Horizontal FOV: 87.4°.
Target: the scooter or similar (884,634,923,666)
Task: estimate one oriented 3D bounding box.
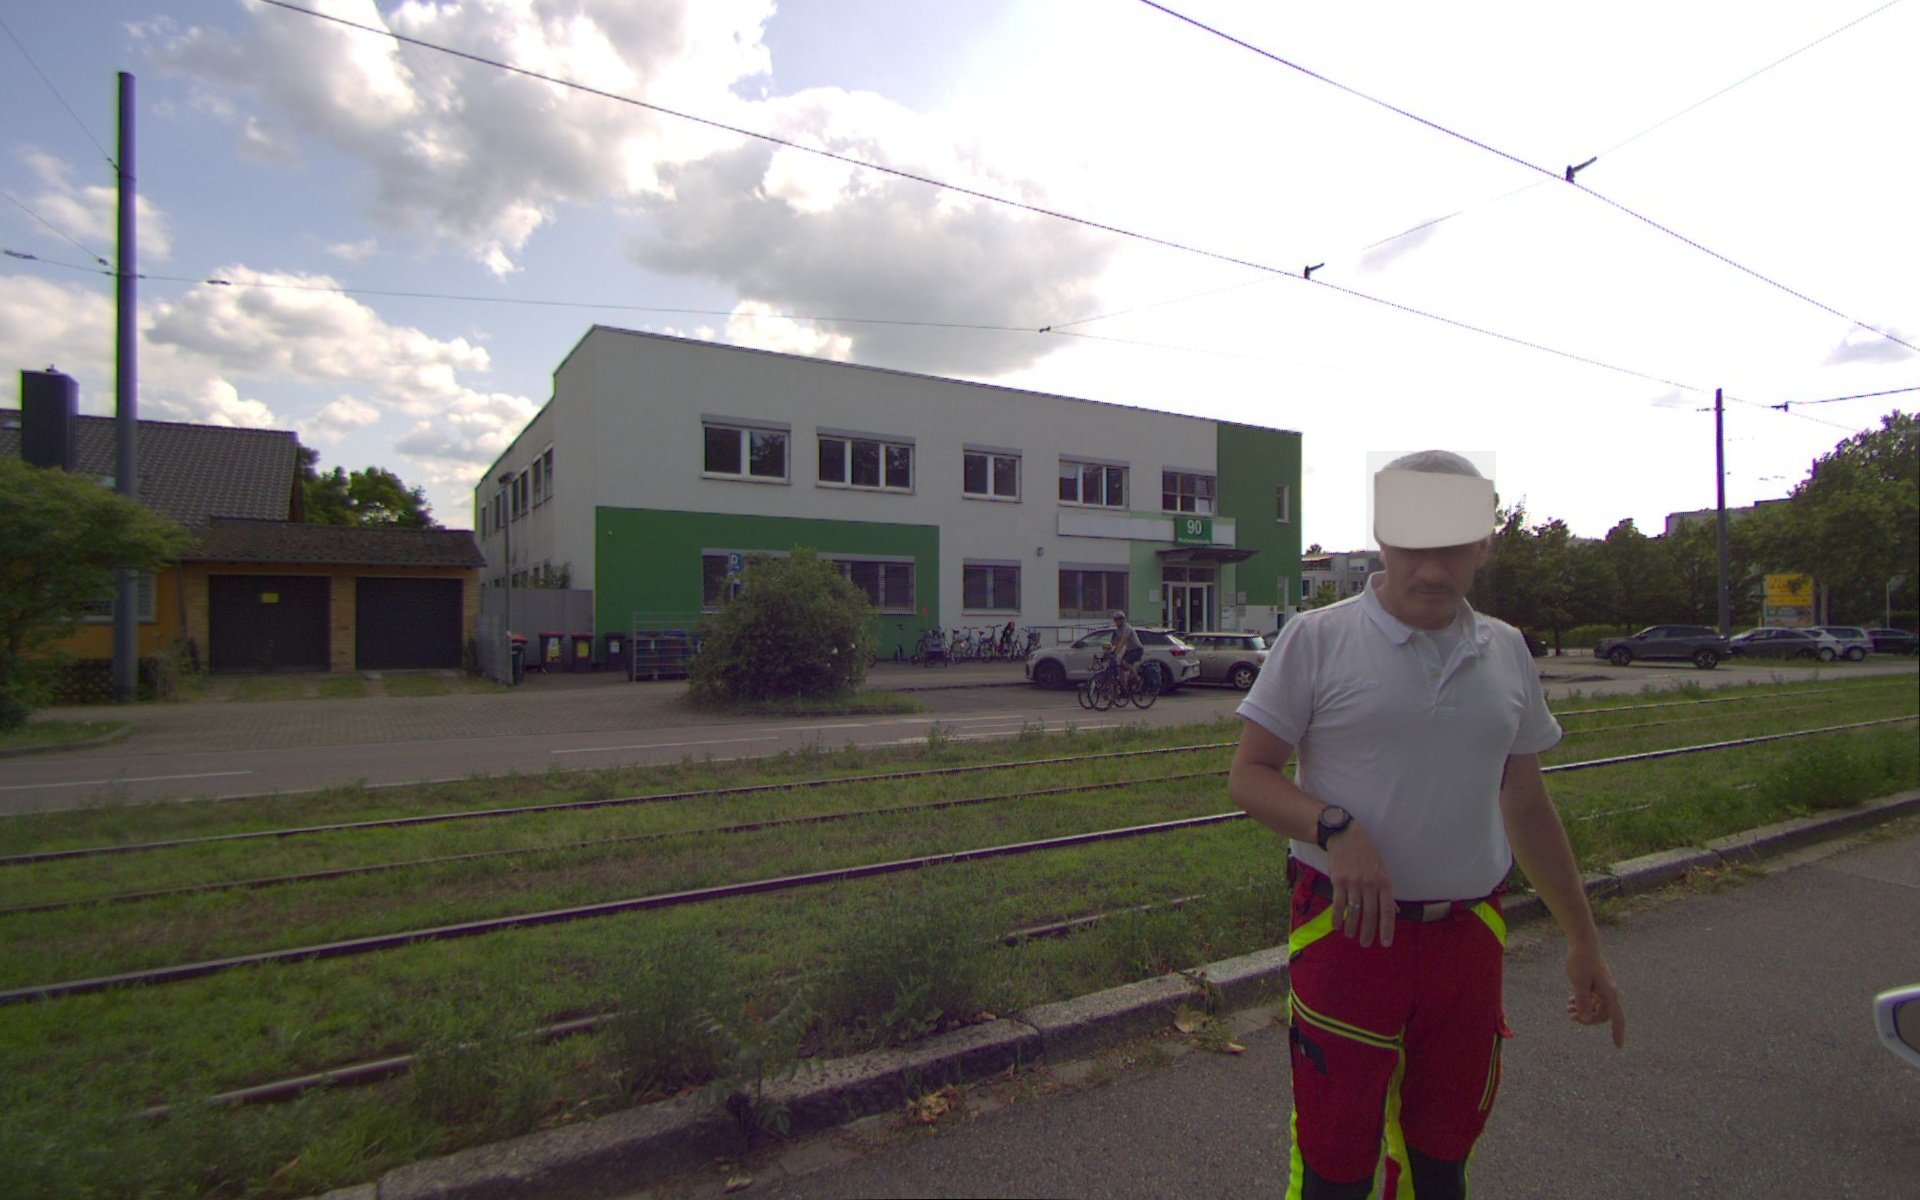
[{"bbox_3d":[-1.764,1.529,31.030,0.453,0.911,1.726,2,0,-30],"label":"scooter or similar"}]

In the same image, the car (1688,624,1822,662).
[{"bbox_3d":[34.388,1.841,43.588,4.154,1.501,1.882,1,-1,23],"label":"car"}]

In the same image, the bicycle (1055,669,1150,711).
[{"bbox_3d":[2.770,1.730,19.478,1.781,0.727,0.643,1,-1,-27],"label":"bicycle"}]

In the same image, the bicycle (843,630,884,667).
[{"bbox_3d":[-2.898,1.433,30.052,0.453,0.999,1.848,2,0,-30],"label":"bicycle"}]

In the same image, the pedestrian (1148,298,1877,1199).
[{"bbox_3d":[0.808,0.467,1.744,0.790,1.709,0.851,1,0,0],"label":"pedestrian"}]

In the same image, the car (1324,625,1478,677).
[{"bbox_3d":[13.575,1.545,30.948,4.160,1.501,1.880,-1,-2,30],"label":"car"}]

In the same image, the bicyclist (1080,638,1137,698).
[{"bbox_3d":[2.888,1.307,19.538,0.916,1.127,0.637,1,-1,-27],"label":"bicyclist"}]

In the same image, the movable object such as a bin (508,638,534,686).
[{"bbox_3d":[-10.119,1.422,23.144,0.476,1.056,0.502,0,1,-31],"label":"movable object such as a bin"}]

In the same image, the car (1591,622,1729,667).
[{"bbox_3d":[26.211,1.638,37.760,4.164,1.501,1.878,1,-1,34],"label":"car"}]

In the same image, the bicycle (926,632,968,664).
[{"bbox_3d":[-0.418,1.517,31.720,0.453,0.911,1.848,2,0,-30],"label":"bicycle"}]

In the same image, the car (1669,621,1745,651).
[{"bbox_3d":[48.532,2.293,65.367,1.960,1.773,4.000,1,0,0],"label":"car"}]

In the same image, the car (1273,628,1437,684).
[{"bbox_3d":[11.354,1.576,28.899,4.160,1.501,1.880,-1,-2,30],"label":"car"}]

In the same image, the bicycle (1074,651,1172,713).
[{"bbox_3d":[3.069,1.515,18.877,1.781,1.094,0.643,1,-1,-27],"label":"bicycle"}]

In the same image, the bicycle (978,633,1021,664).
[{"bbox_3d":[1.289,1.574,32.805,0.453,0.911,1.848,2,0,-30],"label":"bicycle"}]

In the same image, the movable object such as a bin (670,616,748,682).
[{"bbox_3d":[-6.224,1.187,24.905,1.691,1.540,1.001,0,1,-29],"label":"movable object such as a bin"}]

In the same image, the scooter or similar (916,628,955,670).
[{"bbox_3d":[-0.734,1.435,29.655,1.073,1.171,1.306,2,0,-2],"label":"scooter or similar"}]

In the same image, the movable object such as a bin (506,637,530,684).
[{"bbox_3d":[-10.399,1.416,23.626,0.474,1.056,0.491,0,1,-31],"label":"movable object such as a bin"}]

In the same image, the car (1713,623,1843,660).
[{"bbox_3d":[36.750,1.834,45.274,4.154,1.501,1.882,1,-1,23],"label":"car"}]

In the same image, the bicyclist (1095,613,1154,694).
[{"bbox_3d":[3.096,0.992,18.901,0.916,1.477,0.621,1,-1,-26],"label":"bicyclist"}]

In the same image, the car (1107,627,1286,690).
[{"bbox_3d":[6.091,1.471,25.966,4.160,1.501,1.880,-1,-2,30],"label":"car"}]

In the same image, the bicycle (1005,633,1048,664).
[{"bbox_3d":[2.200,1.596,33.317,0.453,0.911,1.848,2,0,-30],"label":"bicycle"}]

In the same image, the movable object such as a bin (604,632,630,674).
[{"bbox_3d":[-9.194,1.411,26.887,0.558,1.056,0.565,0,1,-31],"label":"movable object such as a bin"}]

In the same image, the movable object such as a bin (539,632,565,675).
[{"bbox_3d":[-10.557,1.374,25.989,0.558,1.056,0.565,0,1,-31],"label":"movable object such as a bin"}]

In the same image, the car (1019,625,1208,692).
[{"bbox_3d":[3.700,1.378,24.282,4.155,1.501,1.882,-1,-2,25],"label":"car"}]

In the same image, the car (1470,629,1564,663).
[{"bbox_3d":[29.208,2.379,52.775,1.755,1.586,3.970,2,0,-28],"label":"car"}]

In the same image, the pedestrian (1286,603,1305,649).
[{"bbox_3d":[13.516,1.048,40.497,0.503,1.852,0.543,1,-1,-33],"label":"pedestrian"}]

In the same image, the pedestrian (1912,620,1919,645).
[{"bbox_3d":[64.757,2.180,67.906,0.597,1.699,0.463,1,-1,-33],"label":"pedestrian"}]

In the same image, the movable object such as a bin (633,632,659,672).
[{"bbox_3d":[-8.534,1.405,27.261,0.558,1.056,0.565,0,1,-31],"label":"movable object such as a bin"}]

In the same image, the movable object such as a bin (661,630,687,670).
[{"bbox_3d":[-7.873,1.375,27.652,0.558,1.056,0.565,0,1,-31],"label":"movable object such as a bin"}]

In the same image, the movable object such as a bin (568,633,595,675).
[{"bbox_3d":[-9.949,1.403,26.390,0.558,1.056,0.565,0,1,-31],"label":"movable object such as a bin"}]

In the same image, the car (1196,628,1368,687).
[{"bbox_3d":[8.757,1.514,27.351,4.160,1.501,1.880,-1,-2,30],"label":"car"}]

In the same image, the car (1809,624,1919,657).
[{"bbox_3d":[46.195,2.040,51.098,4.151,1.501,1.883,1,-1,19],"label":"car"}]

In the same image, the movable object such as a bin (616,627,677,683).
[{"bbox_3d":[-7.539,1.307,24.143,1.241,1.251,1.001,0,1,-29],"label":"movable object such as a bin"}]

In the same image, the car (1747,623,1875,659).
[{"bbox_3d":[39.407,1.880,46.645,4.154,1.501,1.882,1,-1,23],"label":"car"}]

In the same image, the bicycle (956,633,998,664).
[{"bbox_3d":[0.529,1.549,32.341,0.453,0.911,1.848,2,0,-30],"label":"bicycle"}]
